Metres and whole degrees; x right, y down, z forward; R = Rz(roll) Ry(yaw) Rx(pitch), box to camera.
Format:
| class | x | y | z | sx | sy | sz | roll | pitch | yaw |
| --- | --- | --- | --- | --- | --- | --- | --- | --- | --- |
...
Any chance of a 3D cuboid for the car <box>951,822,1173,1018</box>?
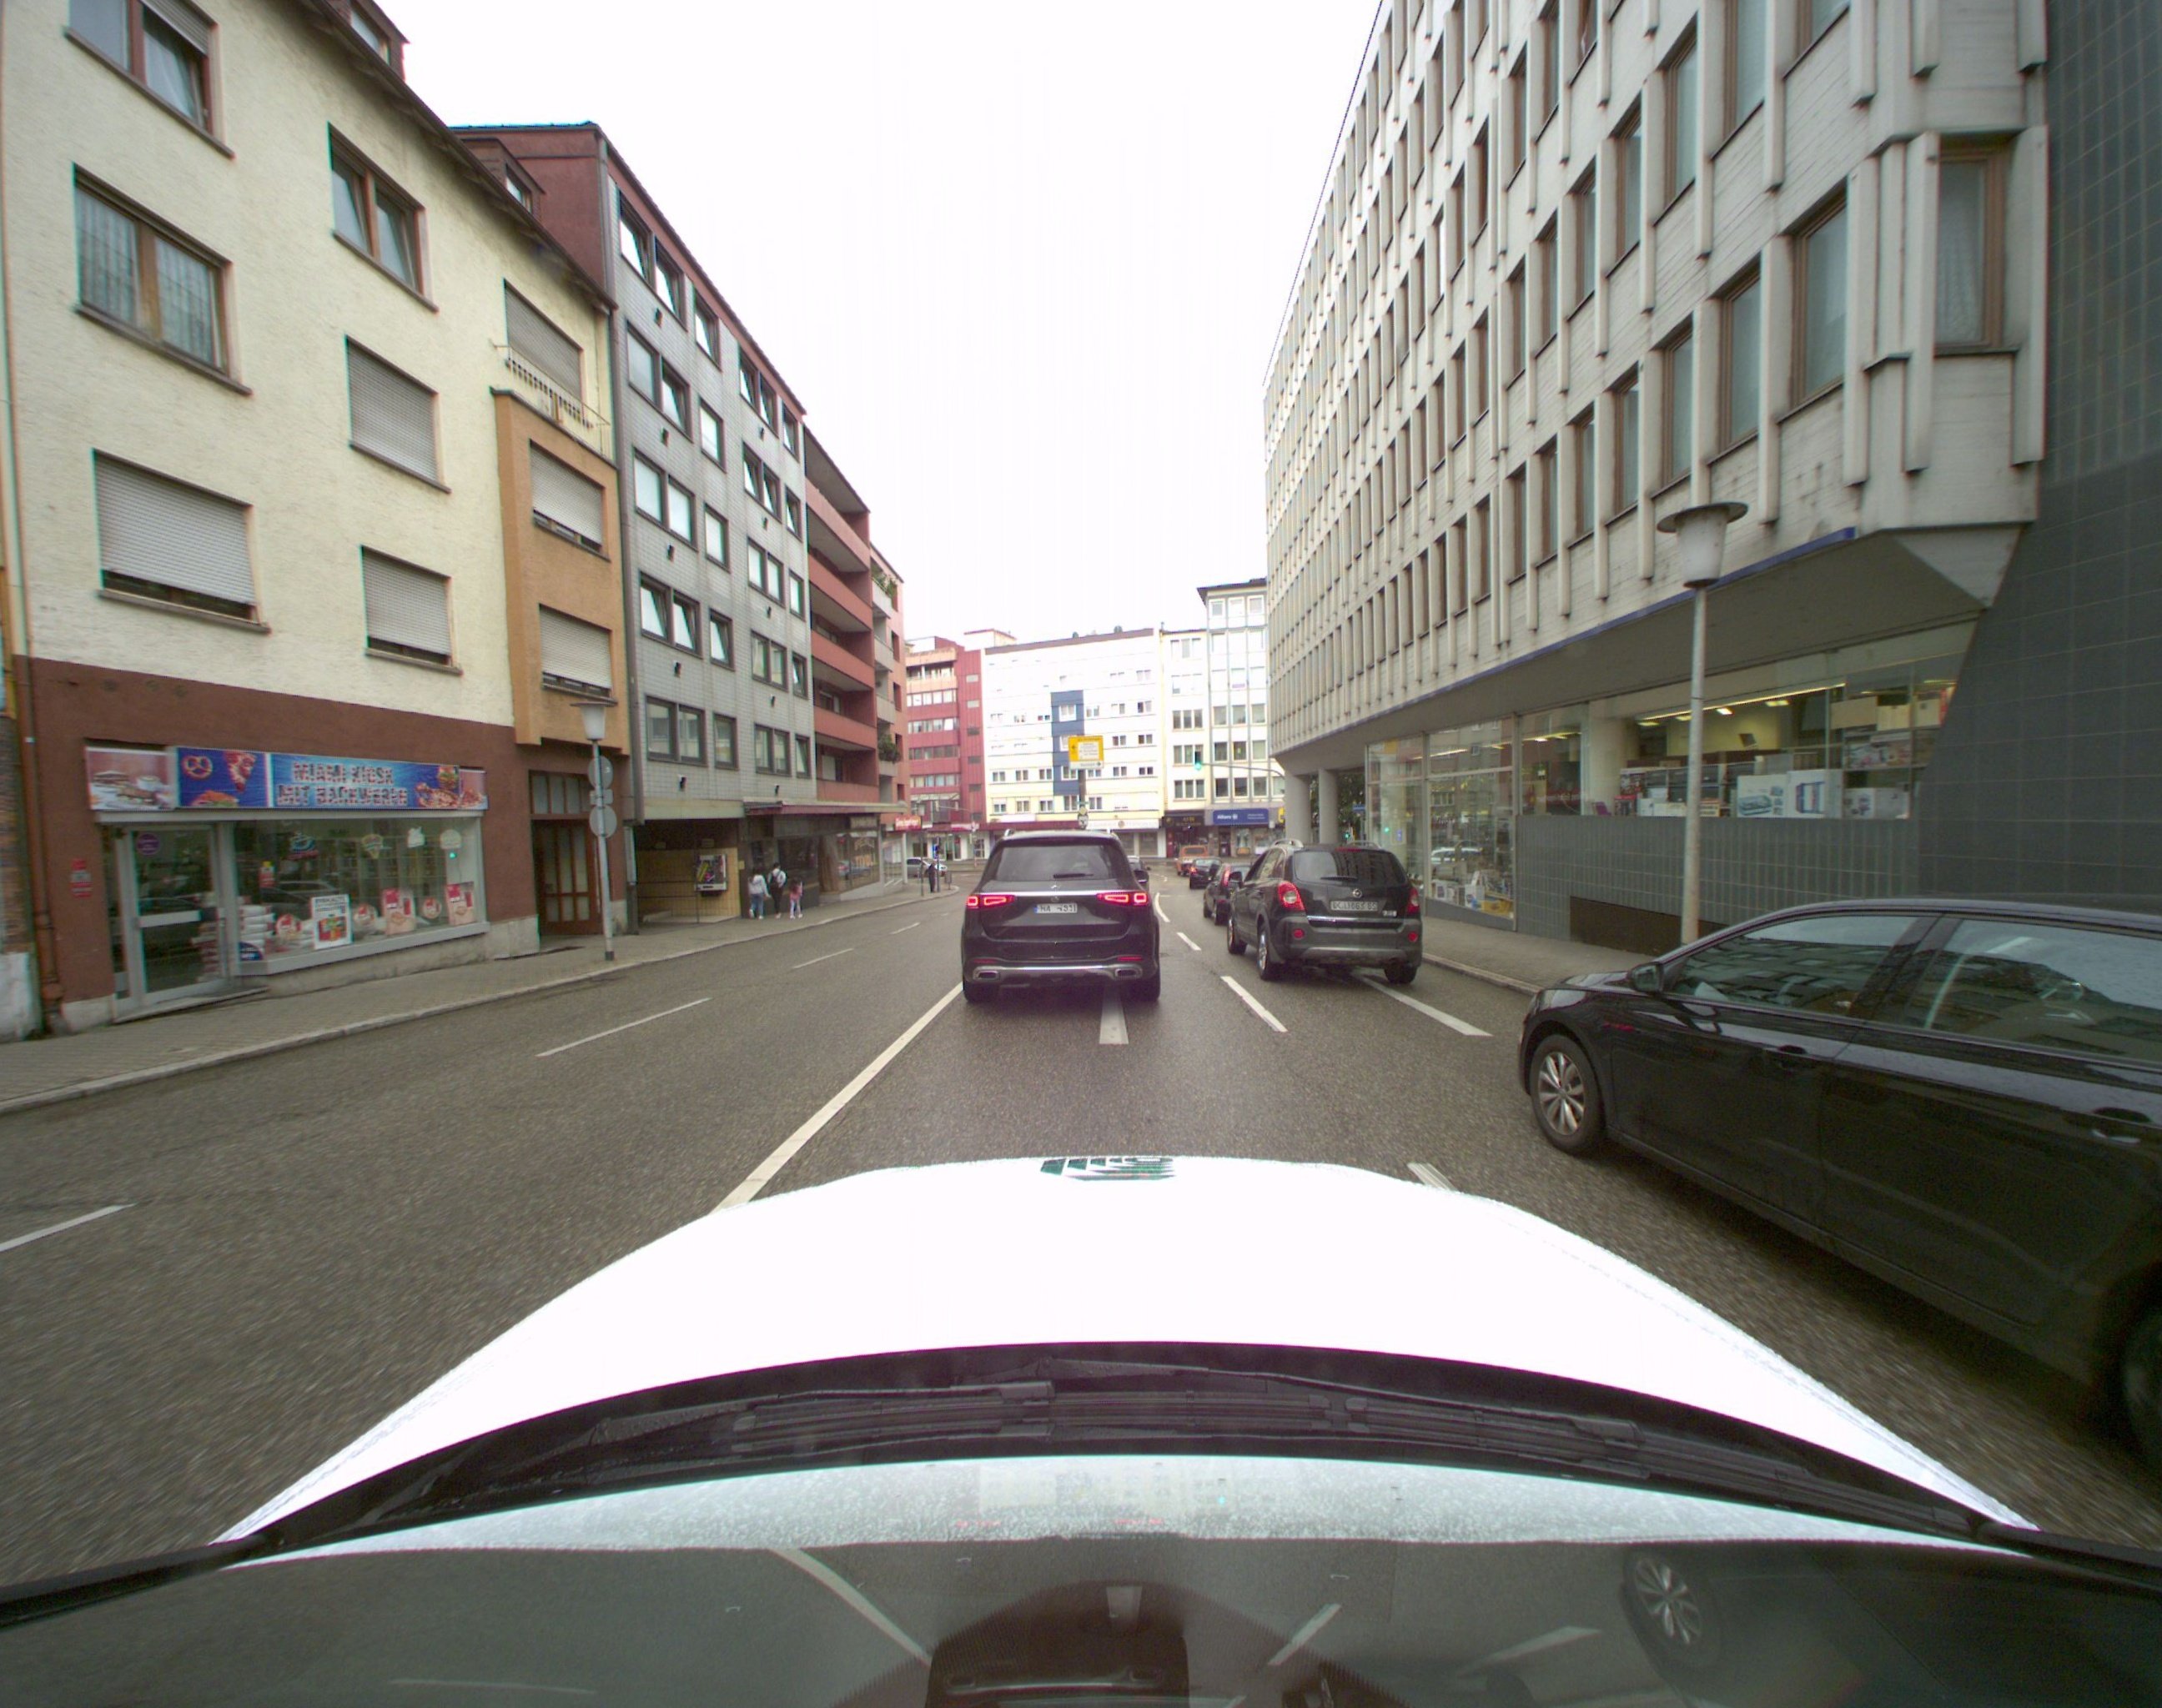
| class | x | y | z | sx | sy | sz | roll | pitch | yaw |
| --- | --- | --- | --- | --- | --- | --- | --- | --- | --- |
| car | -0.154 | 0.607 | 9.854 | 2.032 | 1.799 | 4.662 | 0 | 0 | 0 |

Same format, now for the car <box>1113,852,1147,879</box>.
| class | x | y | z | sx | sy | sz | roll | pitch | yaw |
| --- | --- | --- | --- | --- | --- | --- | --- | --- | --- |
| car | 2.901 | 0.710 | 48.888 | 1.917 | 1.515 | 4.664 | 1 | -1 | 2 |

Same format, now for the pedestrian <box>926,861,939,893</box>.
| class | x | y | z | sx | sy | sz | roll | pitch | yaw |
| --- | --- | --- | --- | --- | --- | --- | --- | --- | --- |
| pedestrian | -8.161 | 1.249 | 44.765 | 0.552 | 1.697 | 0.623 | -2 | 0 | -2 |

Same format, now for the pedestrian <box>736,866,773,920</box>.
| class | x | y | z | sx | sy | sz | roll | pitch | yaw |
| --- | --- | --- | --- | --- | --- | --- | --- | --- | --- |
| pedestrian | -9.666 | 1.135 | 24.125 | 0.826 | 1.561 | 0.722 | 1 | -1 | -7 |

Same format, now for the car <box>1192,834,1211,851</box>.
| class | x | y | z | sx | sy | sz | roll | pitch | yaw |
| --- | --- | --- | --- | --- | --- | --- | --- | --- | --- |
| car | 13.261 | -1.257 | 89.439 | 1.786 | 1.670 | 4.012 | -2 | 0 | 11 |

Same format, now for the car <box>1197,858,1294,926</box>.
| class | x | y | z | sx | sy | sz | roll | pitch | yaw |
| --- | --- | --- | --- | --- | --- | --- | --- | --- | --- |
| car | 3.861 | 0.838 | 19.711 | 1.759 | 1.397 | 4.004 | 2 | 0 | 4 |

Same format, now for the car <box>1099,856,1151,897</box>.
| class | x | y | z | sx | sy | sz | roll | pitch | yaw |
| --- | --- | --- | --- | --- | --- | --- | --- | --- | --- |
| car | 1.783 | 0.871 | 33.719 | 1.986 | 1.486 | 4.239 | -2 | 0 | 2 |

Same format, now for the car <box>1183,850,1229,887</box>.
| class | x | y | z | sx | sy | sz | roll | pitch | yaw |
| --- | --- | --- | --- | --- | --- | --- | --- | --- | --- |
| car | 5.888 | 0.698 | 38.801 | 1.815 | 1.658 | 4.499 | 0 | -1 | 4 |

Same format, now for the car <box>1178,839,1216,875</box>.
| class | x | y | z | sx | sy | sz | roll | pitch | yaw |
| --- | --- | --- | --- | --- | --- | --- | --- | --- | --- |
| car | 7.550 | 0.216 | 53.404 | 2.231 | 2.228 | 5.437 | 0 | 0 | 6 |

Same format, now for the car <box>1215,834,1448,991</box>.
| class | x | y | z | sx | sy | sz | roll | pitch | yaw |
| --- | --- | --- | --- | --- | --- | --- | --- | --- | --- |
| car | 3.144 | 0.649 | 11.283 | 1.891 | 1.695 | 4.506 | 1 | 0 | 1 |

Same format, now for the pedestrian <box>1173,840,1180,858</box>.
| class | x | y | z | sx | sy | sz | roll | pitch | yaw |
| --- | --- | --- | --- | --- | --- | --- | --- | --- | --- |
| pedestrian | 9.096 | -0.478 | 77.517 | 0.561 | 1.688 | 0.758 | -2 | 6 | 8 |

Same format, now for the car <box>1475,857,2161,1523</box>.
| class | x | y | z | sx | sy | sz | roll | pitch | yaw |
| --- | --- | --- | --- | --- | --- | --- | --- | --- | --- |
| car | 3.285 | 0.777 | 3.056 | 1.683 | 1.477 | 4.000 | 1 | 0 | 0 |

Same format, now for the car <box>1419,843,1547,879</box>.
| class | x | y | z | sx | sy | sz | roll | pitch | yaw |
| --- | --- | --- | --- | --- | --- | --- | --- | --- | --- |
| car | 17.973 | 0.338 | 36.594 | 4.790 | 1.494 | 1.868 | -2 | 0 | 43 |

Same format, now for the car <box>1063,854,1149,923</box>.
| class | x | y | z | sx | sy | sz | roll | pitch | yaw |
| --- | --- | --- | --- | --- | --- | --- | --- | --- | --- |
| car | 0.561 | 0.747 | 19.894 | 1.867 | 1.495 | 4.400 | 0 | 0 | 0 |

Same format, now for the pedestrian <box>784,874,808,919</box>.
| class | x | y | z | sx | sy | sz | roll | pitch | yaw |
| --- | --- | --- | --- | --- | --- | --- | --- | --- | --- |
| pedestrian | -8.687 | 1.287 | 24.840 | 0.533 | 1.323 | 0.722 | 1 | 0 | -7 |

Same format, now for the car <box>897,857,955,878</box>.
| class | x | y | z | sx | sy | sz | roll | pitch | yaw |
| --- | --- | --- | --- | --- | --- | --- | --- | --- | --- |
| car | -12.353 | 1.052 | 65.003 | 4.134 | 1.592 | 1.746 | 1 | 0 | 11 |

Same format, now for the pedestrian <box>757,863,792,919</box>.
| class | x | y | z | sx | sy | sz | roll | pitch | yaw |
| --- | --- | --- | --- | --- | --- | --- | --- | --- | --- |
| pedestrian | -9.374 | 1.114 | 24.904 | 0.826 | 1.689 | 0.722 | 1 | -1 | -7 |
